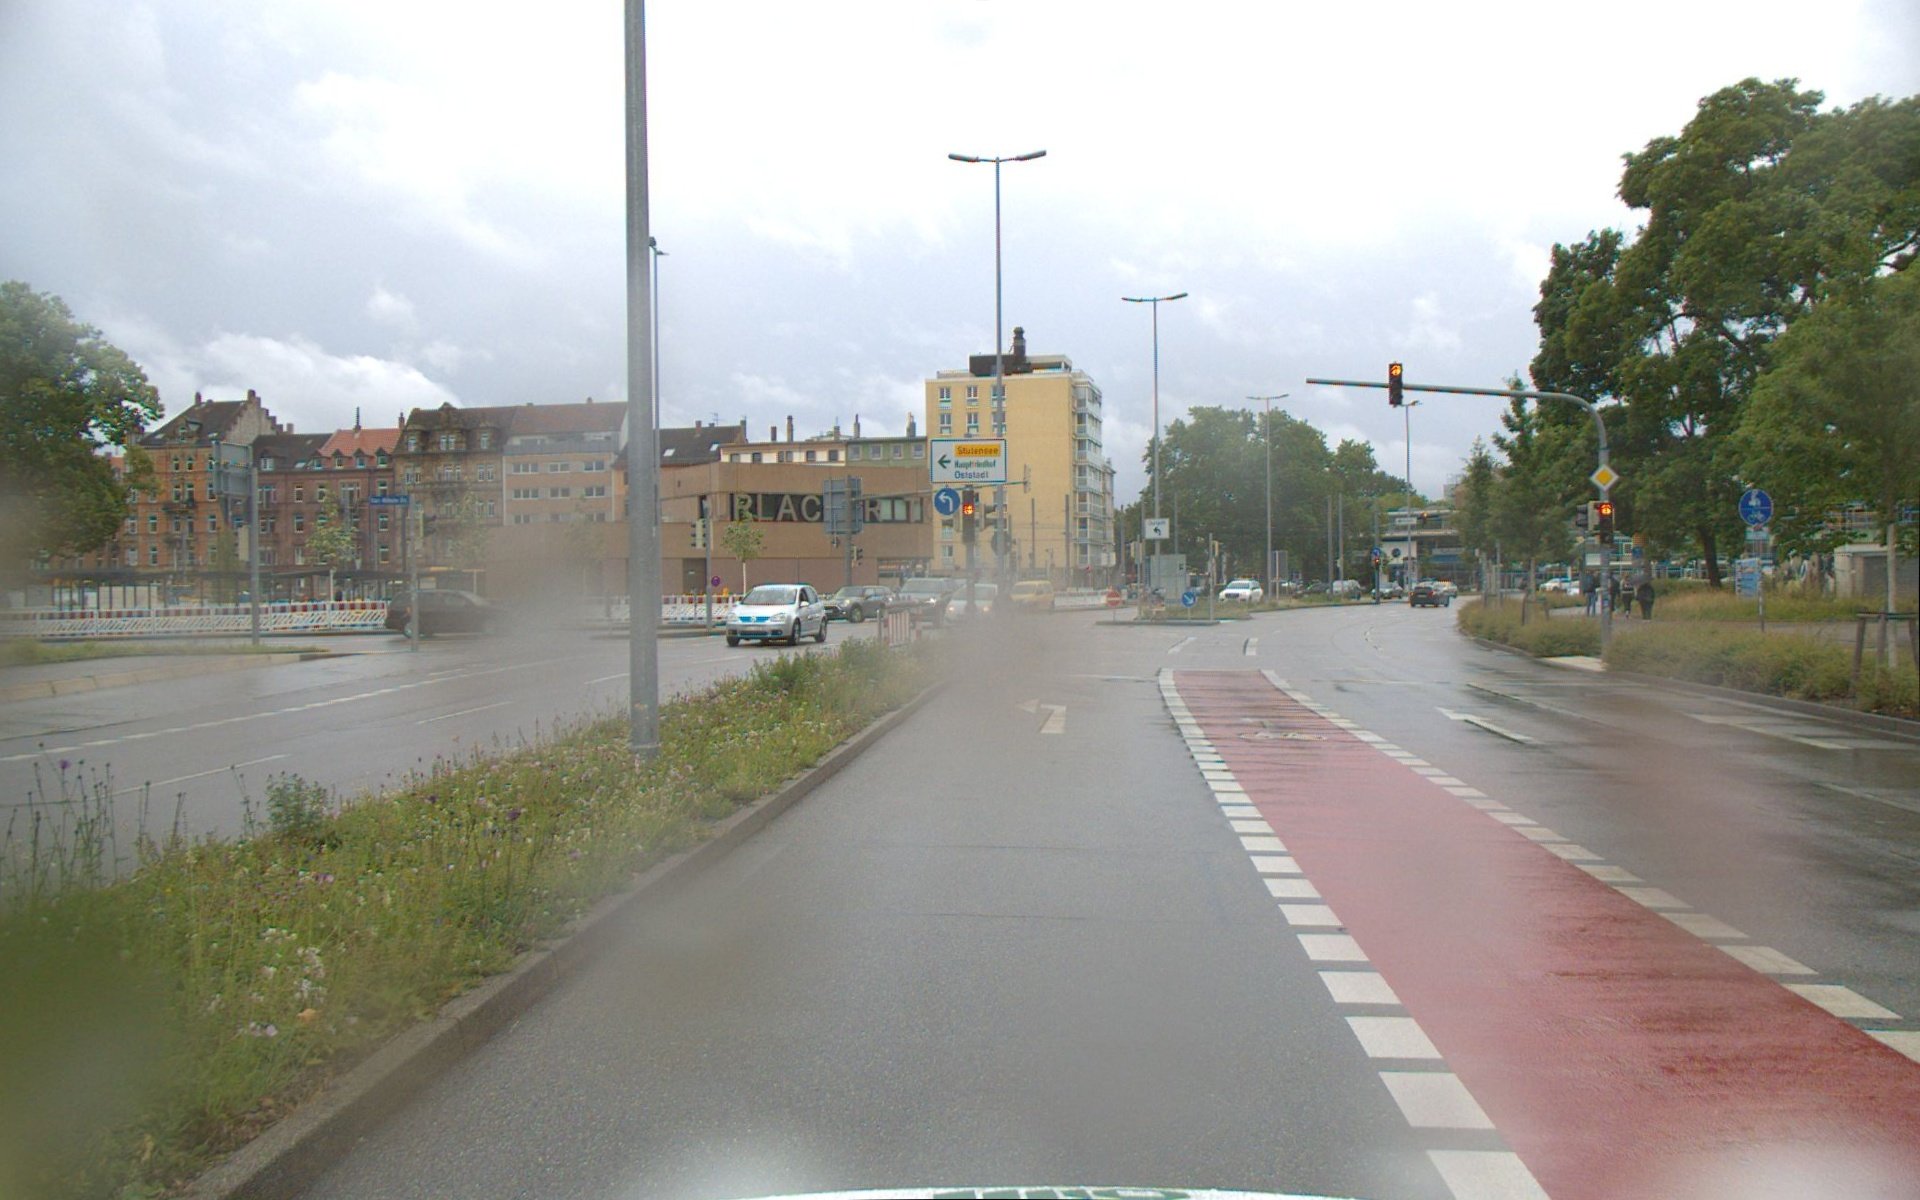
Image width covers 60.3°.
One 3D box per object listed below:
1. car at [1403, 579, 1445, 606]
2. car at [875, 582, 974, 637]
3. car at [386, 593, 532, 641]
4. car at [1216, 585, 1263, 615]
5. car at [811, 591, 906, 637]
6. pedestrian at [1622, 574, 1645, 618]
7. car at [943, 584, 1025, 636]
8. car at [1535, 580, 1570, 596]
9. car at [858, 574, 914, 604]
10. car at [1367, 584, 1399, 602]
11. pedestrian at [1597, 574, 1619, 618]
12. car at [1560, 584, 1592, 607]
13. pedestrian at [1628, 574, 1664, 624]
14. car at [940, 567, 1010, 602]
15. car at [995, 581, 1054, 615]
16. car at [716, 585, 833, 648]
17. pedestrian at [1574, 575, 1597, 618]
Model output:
[{"bbox_3d":[30.176,-0.511,107.436,1.756,1.672,4.154,0,1,28],"label":"car"},{"bbox_3d":[-1.142,0.296,56.212,1.951,1.664,4.606,-3,0,17],"label":"car"},{"bbox_3d":[-15.765,0.524,52.154,4.105,1.427,1.618,-1,0,0],"label":"car"},{"bbox_3d":[17.694,-0.018,104.460,1.789,1.711,5.165,-3,0,22],"label":"car"},{"bbox_3d":[-4.024,0.518,65.899,1.678,1.735,3.803,0,1,38],"label":"car"},{"bbox_3d":[25.210,-0.159,61.895,0.688,1.615,0.937,-1,0,17],"label":"pedestrian"},{"bbox_3d":[0.792,0.291,51.872,1.643,1.527,3.871,-2,0,15],"label":"car"},{"bbox_3d":[64.092,-1.279,178.897,4.359,1.672,1.768,-1,1,-42],"label":"car"},{"bbox_3d":[-7.501,-1.137,167.357,5.236,2.937,2.341,-1,0,9],"label":"car"},{"bbox_3d":[37.347,-0.632,146.010,1.663,1.440,4.174,-1,1,31],"label":"car"},{"bbox_3d":[24.298,-0.144,62.024,0.688,1.615,0.937,-1,0,17],"label":"pedestrian"},{"bbox_3d":[46.984,-0.360,126.151,1.756,1.672,4.154,0,1,28],"label":"car"},{"bbox_3d":[22.782,-0.034,54.935,1.001,1.615,0.937,-1,0,17],"label":"pedestrian"},{"bbox_3d":[1.534,-1.562,165.642,6.597,3.439,2.812,-1,0,9],"label":"car"},{"bbox_3d":[3.410,-0.103,86.874,1.671,1.735,4.151,-1,1,23],"label":"car"},{"bbox_3d":[-4.562,0.371,41.254,1.643,1.429,4.162,-2,0,12],"label":"car"},{"bbox_3d":[23.488,-0.130,62.128,0.738,1.615,0.937,-1,0,17],"label":"pedestrian"}]
